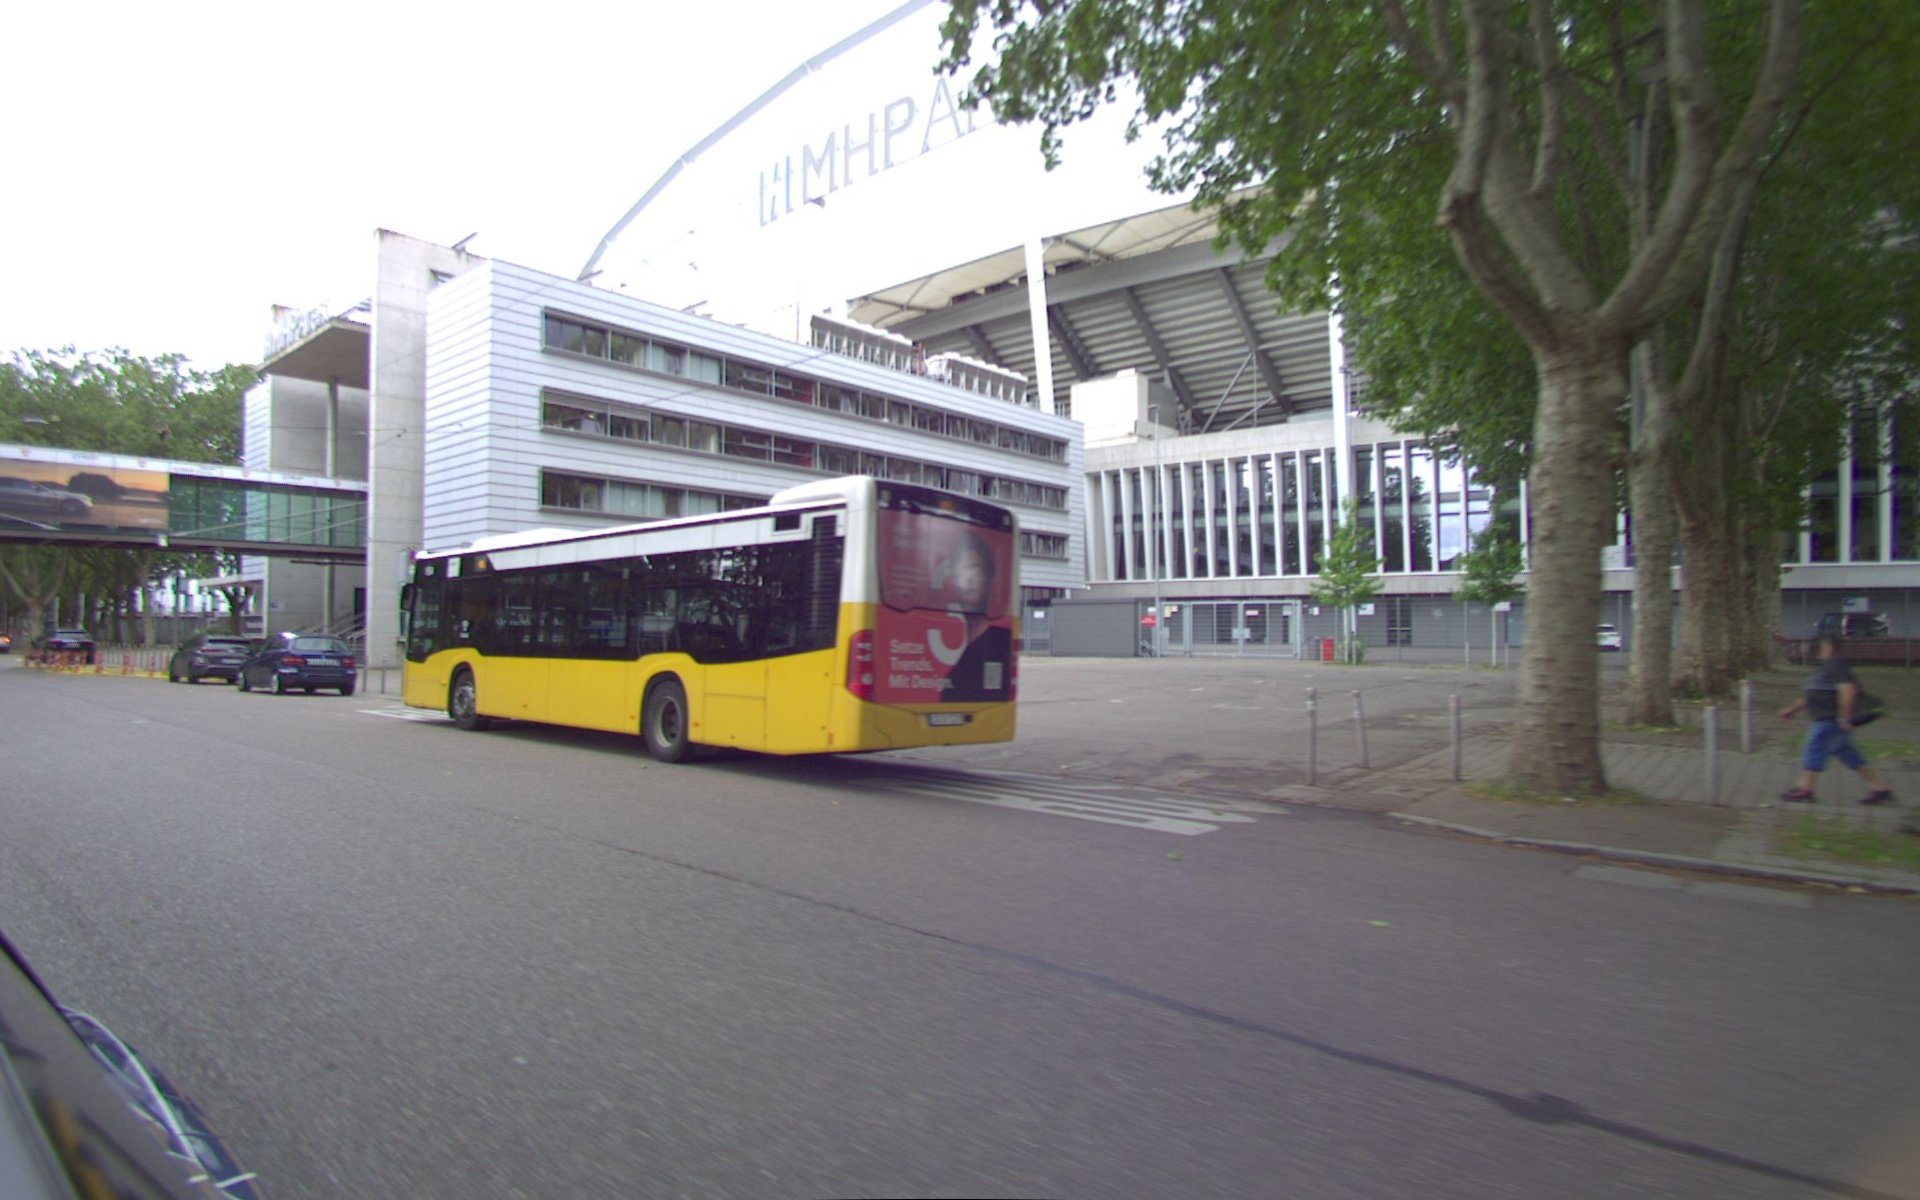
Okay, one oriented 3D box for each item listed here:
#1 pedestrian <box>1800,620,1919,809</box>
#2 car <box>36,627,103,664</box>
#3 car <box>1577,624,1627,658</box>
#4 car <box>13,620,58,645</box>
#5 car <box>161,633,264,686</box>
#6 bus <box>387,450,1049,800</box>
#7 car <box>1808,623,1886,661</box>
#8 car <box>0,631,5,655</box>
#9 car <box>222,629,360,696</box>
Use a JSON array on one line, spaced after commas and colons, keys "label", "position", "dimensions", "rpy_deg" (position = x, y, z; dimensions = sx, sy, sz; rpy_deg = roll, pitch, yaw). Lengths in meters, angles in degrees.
[{"label": "pedestrian", "position": [8.171, 0.989, 9.095], "dimensions": [0.912, 1.601, 0.655], "rpy_deg": [-1, -1, 41]}, {"label": "car", "position": [-45.225, 2.287, 51.390], "dimensions": [4.232, 1.744, 1.904], "rpy_deg": [-1, -6, 41]}, {"label": "car", "position": [33.488, 2.128, 52.878], "dimensions": [1.992, 1.674, 3.958], "rpy_deg": [-1, -2, 30]}, {"label": "car", "position": [-59.411, 2.116, 65.033], "dimensions": [3.801, 1.480, 1.640], "rpy_deg": [-1, -6, 41]}, {"label": "car", "position": [-23.849, 1.870, 32.231], "dimensions": [4.007, 1.525, 1.735], "rpy_deg": [-1, -6, 41]}, {"label": "bus", "position": [-4.469, 0.420, 14.375], "dimensions": [12.368, 3.179, 2.622], "rpy_deg": [-1, -5, 43]}, {"label": "car", "position": [41.642, 1.942, 47.611], "dimensions": [1.992, 1.674, 3.958], "rpy_deg": [-1, -2, 30]}, {"label": "car", "position": [-67.278, 2.962, 69.779], "dimensions": [3.998, 1.674, 1.735], "rpy_deg": [-1, -1, 42]}, {"label": "car", "position": [-17.508, 1.605, 26.422], "dimensions": [4.384, 1.578, 1.736], "rpy_deg": [-1, -7, 40]}]
